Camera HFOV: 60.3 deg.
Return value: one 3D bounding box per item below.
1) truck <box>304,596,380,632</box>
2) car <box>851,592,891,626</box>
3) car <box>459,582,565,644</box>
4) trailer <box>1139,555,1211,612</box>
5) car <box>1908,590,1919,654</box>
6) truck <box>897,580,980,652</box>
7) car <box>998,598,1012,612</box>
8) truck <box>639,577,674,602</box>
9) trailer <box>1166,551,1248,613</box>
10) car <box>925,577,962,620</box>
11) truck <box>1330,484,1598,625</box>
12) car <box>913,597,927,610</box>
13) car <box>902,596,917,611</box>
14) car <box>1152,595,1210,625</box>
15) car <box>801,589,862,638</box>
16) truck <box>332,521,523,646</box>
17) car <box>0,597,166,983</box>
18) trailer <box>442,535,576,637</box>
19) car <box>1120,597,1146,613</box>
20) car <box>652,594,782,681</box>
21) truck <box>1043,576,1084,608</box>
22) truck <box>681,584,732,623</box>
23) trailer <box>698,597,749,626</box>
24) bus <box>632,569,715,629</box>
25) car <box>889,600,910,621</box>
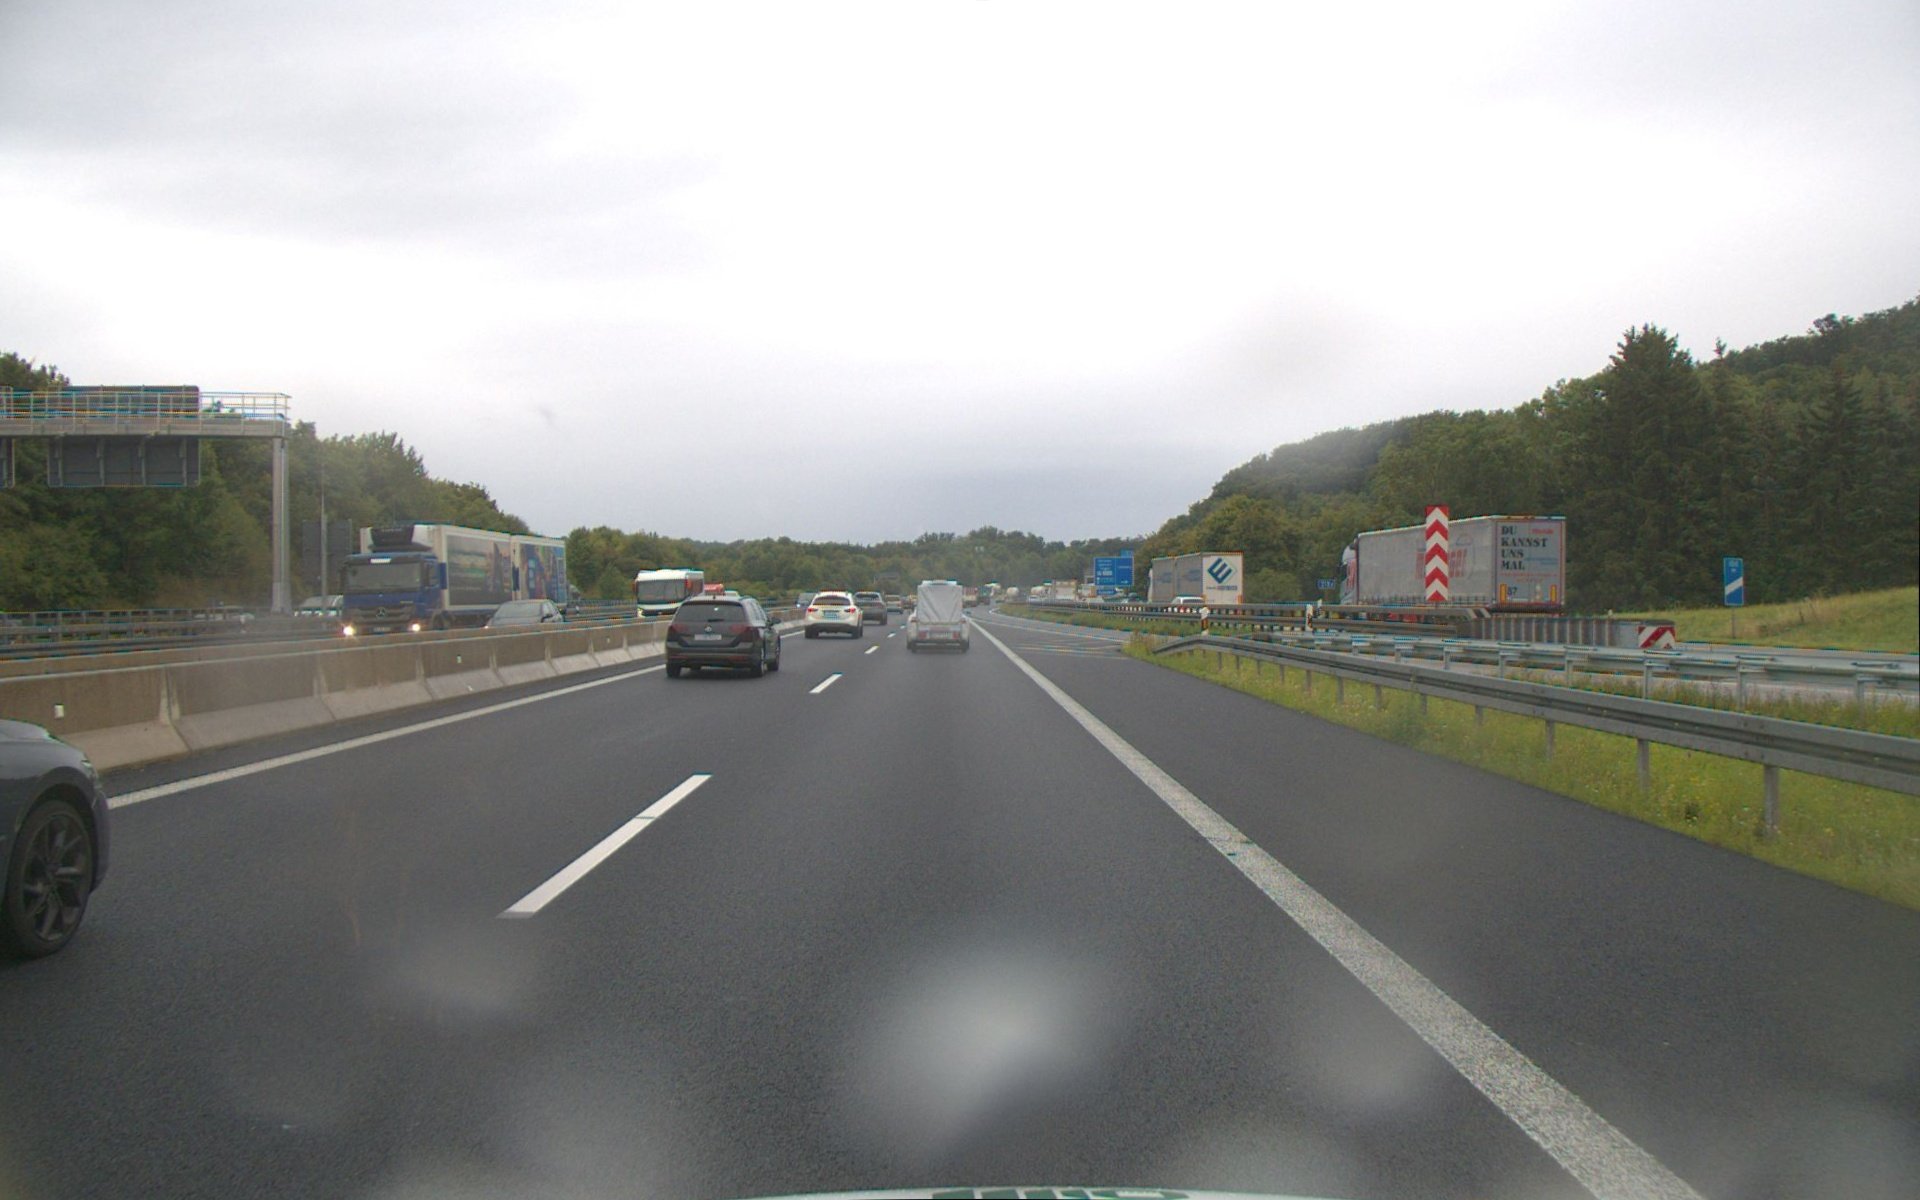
[{"bbox_3d":[-27.701,0.609,74.267,1.954,1.522,4.468,0,0,-4],"label":"truck"},{"bbox_3d":[-4.728,0.435,88.232,1.935,1.733,4.801,1,0,-1],"label":"car"},{"bbox_3d":[-12.783,0.360,47.438,1.953,1.646,3.999,1,0,-1],"label":"car"},{"bbox_3d":[14.205,-1.045,109.864,2.881,3.588,8.409,1,0,-6],"label":"trailer"},{"bbox_3d":[23.667,0.521,37.007,1.783,1.530,5.028,0,0,-4],"label":"car"},{"bbox_3d":[-0.600,0.429,47.297,2.196,1.871,6.583,1,0,-1],"label":"truck"},{"bbox_3d":[5.460,0.635,201.273,1.612,1.601,4.000,1,0,0],"label":"car"},{"bbox_3d":[-35.917,-1.262,195.928,2.684,2.923,8.539,0,0,-1],"label":"truck"},{"bbox_3d":[15.067,-1.040,101.591,3.019,3.588,8.075,1,0,-6],"label":"trailer"},{"bbox_3d":[-1.142,-0.112,109.413,2.284,2.773,6.537,0,0,-2],"label":"car"},{"bbox_3d":[18.410,-1.463,62.614,3.746,4.620,16.867,0,0,-5],"label":"truck"},{"bbox_3d":[-5.247,0.432,217.409,1.612,1.601,4.000,1,0,0],"label":"car"},{"bbox_3d":[-5.643,0.368,184.603,1.612,1.601,4.000,1,0,0],"label":"car"},{"bbox_3d":[12.095,0.539,90.937,1.955,1.645,5.071,0,0,-7],"label":"car"},{"bbox_3d":[-4.681,0.469,59.832,2.009,1.700,4.534,1,0,-7],"label":"car"},{"bbox_3d":[-16.965,-0.484,53.647,2.751,3.586,10.640,1,0,0],"label":"truck"},{"bbox_3d":[-4.500,0.708,5.309,1.793,1.450,4.367,1,0,0],"label":"car"},{"bbox_3d":[-17.004,-0.505,62.952,2.883,3.577,8.050,1,0,0],"label":"trailer"},{"bbox_3d":[14.316,0.430,137.261,1.663,1.311,3.533,1,0,-2],"label":"car"},{"bbox_3d":[-4.467,0.639,31.021,1.751,1.484,4.801,1,0,-1],"label":"car"},{"bbox_3d":[12.566,-0.956,201.647,3.750,3.723,8.264,1,0,-4],"label":"truck"},{"bbox_3d":[-17.489,0.251,114.611,2.377,2.639,7.093,0,0,0],"label":"truck"},{"bbox_3d":[-17.566,0.839,123.300,2.485,2.049,10.243,0,0,-1],"label":"trailer"},{"bbox_3d":[-13.314,-0.039,77.444,2.489,2.632,8.269,1,0,-1],"label":"bus"},{"bbox_3d":[-5.333,0.925,145.915,1.703,1.825,3.999,1,0,-1],"label":"car"}]
